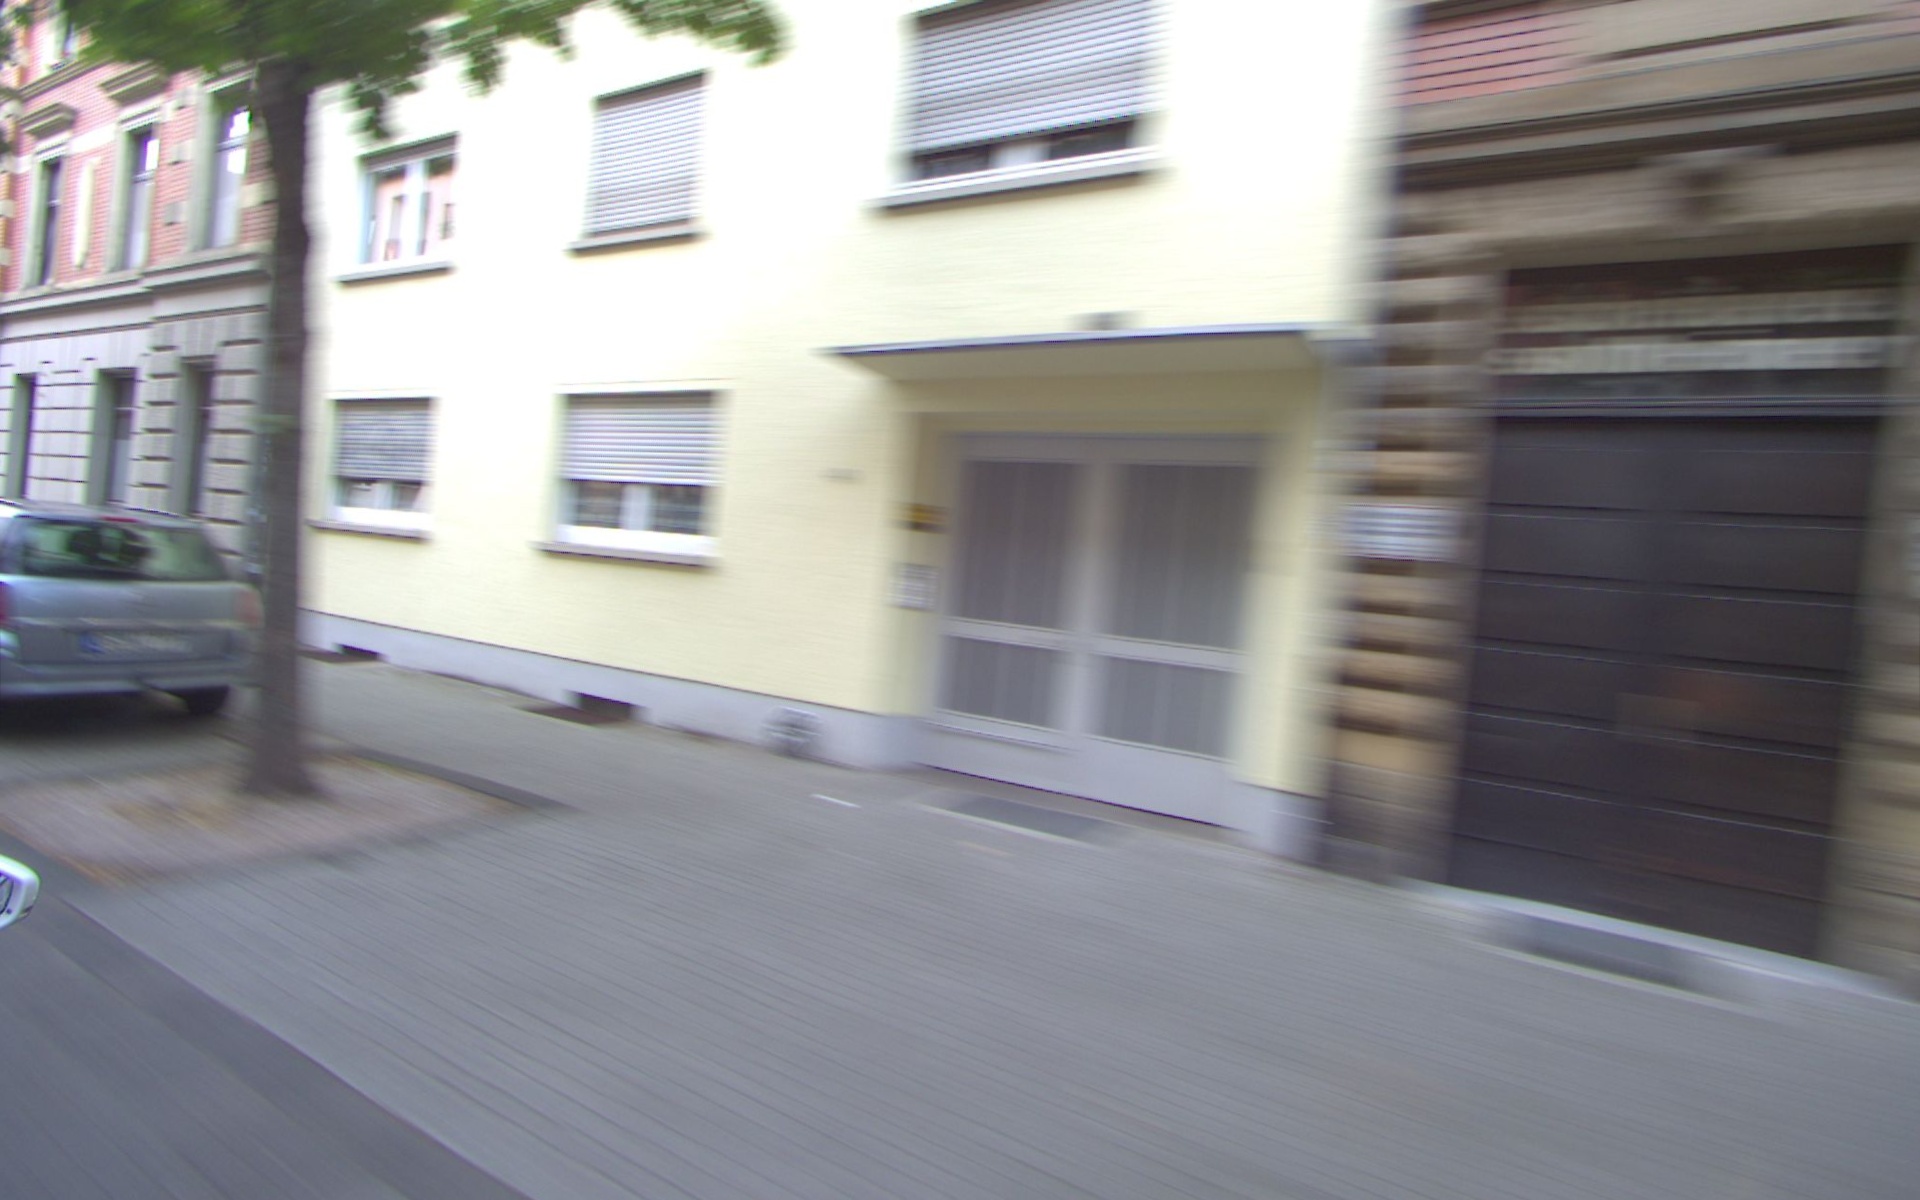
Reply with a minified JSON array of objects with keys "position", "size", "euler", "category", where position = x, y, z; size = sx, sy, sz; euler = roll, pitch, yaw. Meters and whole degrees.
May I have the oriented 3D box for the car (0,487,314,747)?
[{"position":[-6.903,-0.059,7.458],"size":[4.235,1.482,1.760],"euler":[6,1,30],"category":"car"}]
